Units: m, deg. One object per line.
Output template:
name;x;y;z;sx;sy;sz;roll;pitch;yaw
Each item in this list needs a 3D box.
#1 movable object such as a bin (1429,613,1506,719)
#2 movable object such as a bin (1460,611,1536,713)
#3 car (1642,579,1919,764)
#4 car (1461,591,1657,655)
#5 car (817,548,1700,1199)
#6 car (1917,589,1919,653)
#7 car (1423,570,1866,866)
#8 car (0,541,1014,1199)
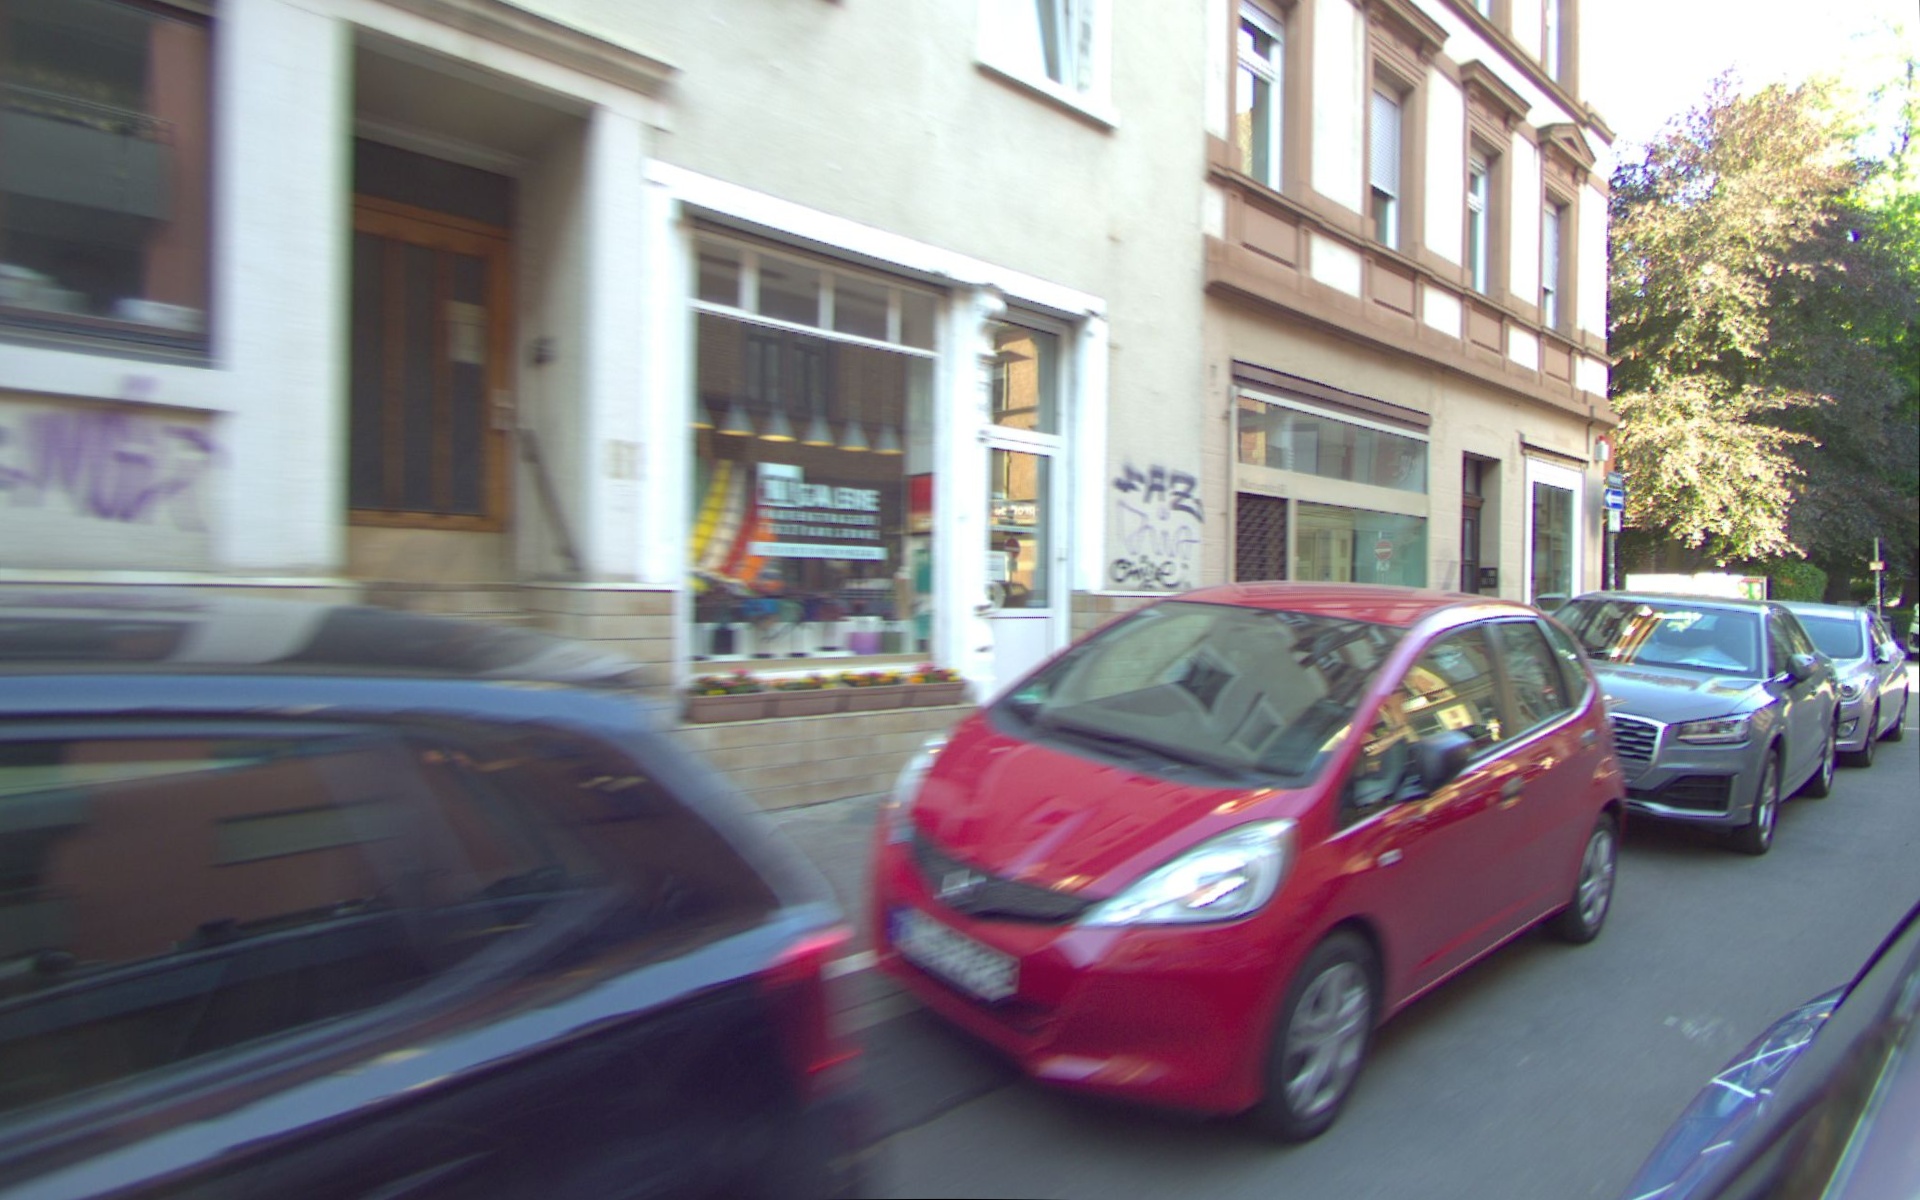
movable object such as a bin;5.355;0.675;10.681;0.583;1.052;0.515;0;2;-40
movable object such as a bin;5.936;0.661;11.161;0.608;1.052;0.515;0;2;-40
car;8.908;0.600;10.710;4.282;1.525;1.747;0;2;-41
car;15.181;0.538;25.834;1.765;1.457;3.931;-2;1;-36
car;1.583;0.622;4.270;4.111;1.525;1.601;0;2;-41
car;25.663;0.330;25.246;4.704;2.023;1.919;0;2;-39
car;5.099;0.606;7.322;3.952;1.525;1.747;0;2;-42
car;-1.931;0.680;0.970;3.869;1.525;1.679;0;2;-41
